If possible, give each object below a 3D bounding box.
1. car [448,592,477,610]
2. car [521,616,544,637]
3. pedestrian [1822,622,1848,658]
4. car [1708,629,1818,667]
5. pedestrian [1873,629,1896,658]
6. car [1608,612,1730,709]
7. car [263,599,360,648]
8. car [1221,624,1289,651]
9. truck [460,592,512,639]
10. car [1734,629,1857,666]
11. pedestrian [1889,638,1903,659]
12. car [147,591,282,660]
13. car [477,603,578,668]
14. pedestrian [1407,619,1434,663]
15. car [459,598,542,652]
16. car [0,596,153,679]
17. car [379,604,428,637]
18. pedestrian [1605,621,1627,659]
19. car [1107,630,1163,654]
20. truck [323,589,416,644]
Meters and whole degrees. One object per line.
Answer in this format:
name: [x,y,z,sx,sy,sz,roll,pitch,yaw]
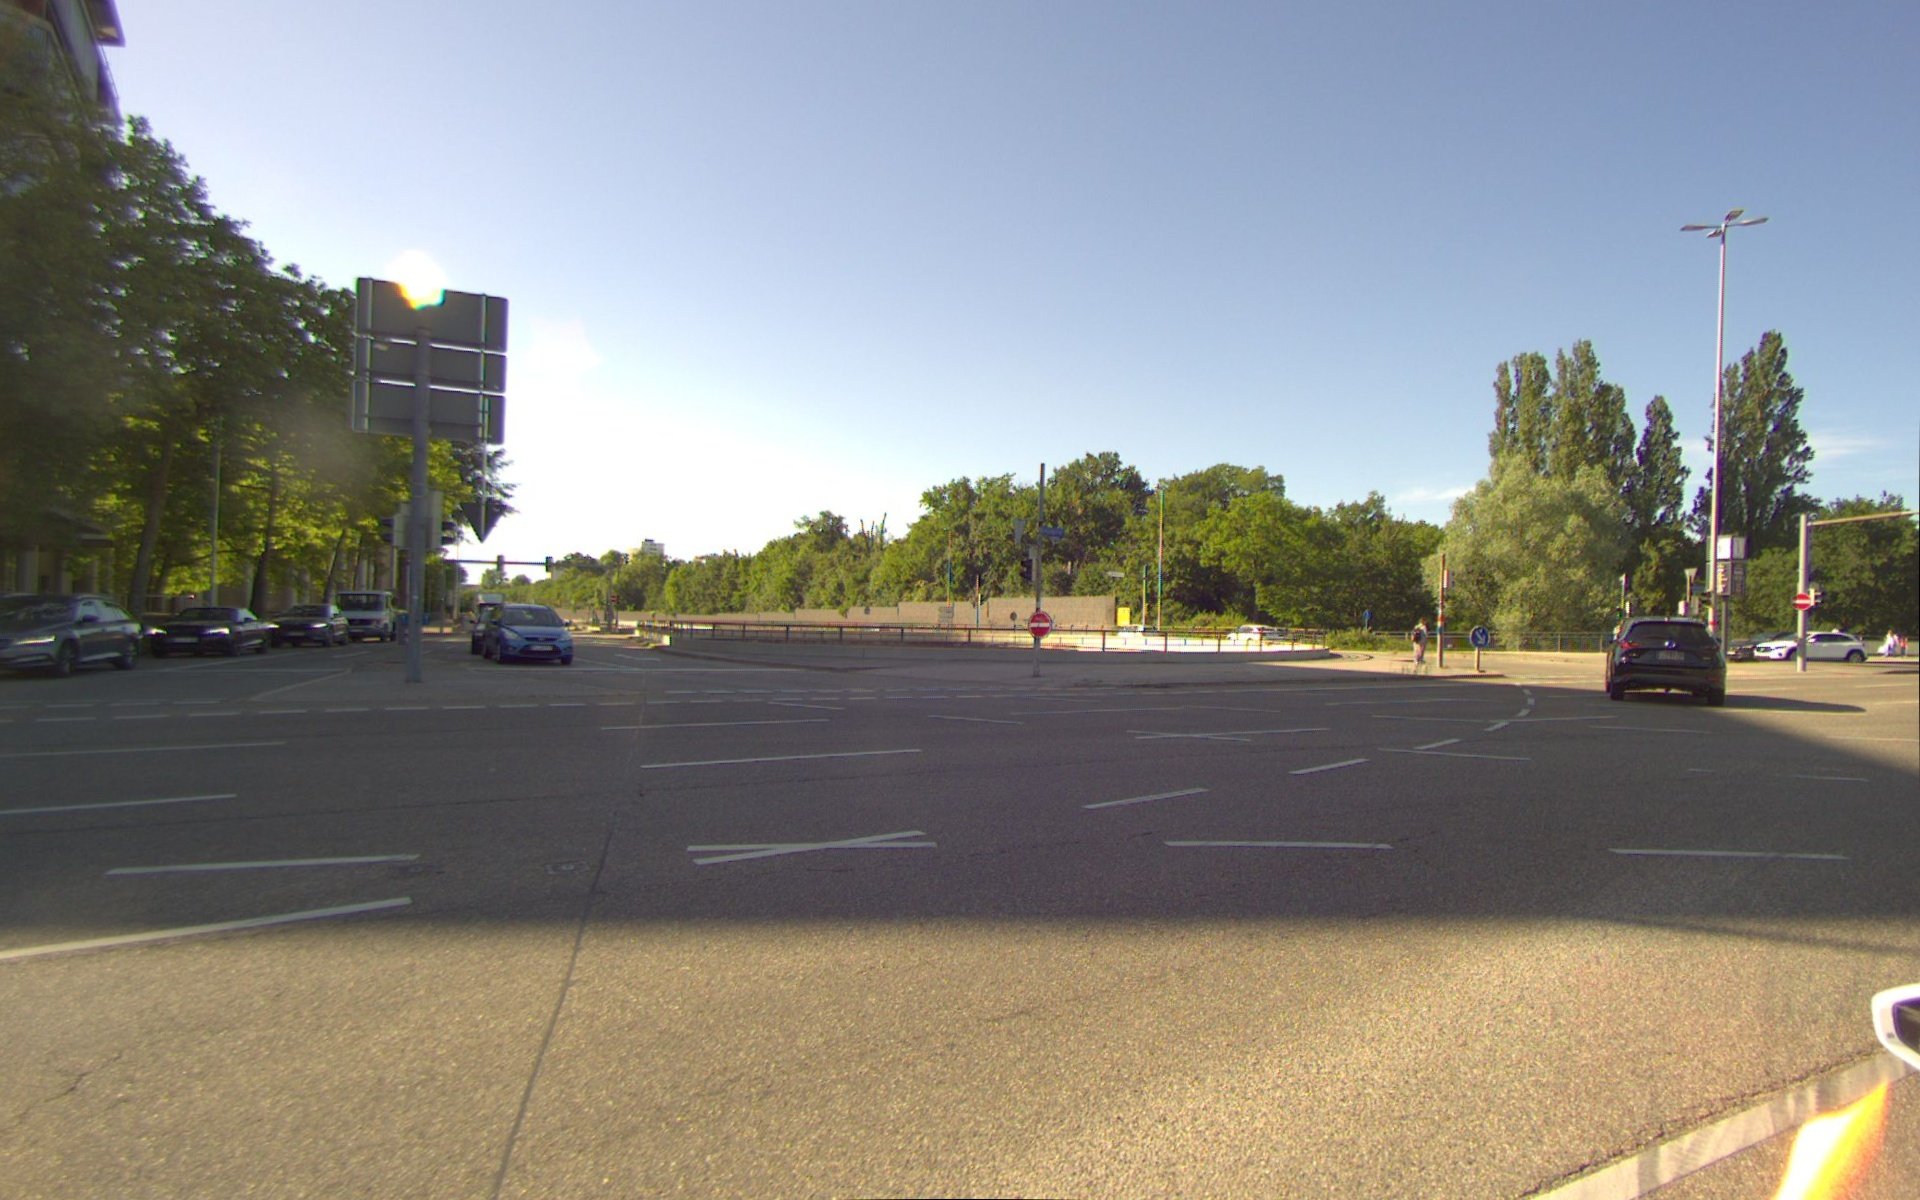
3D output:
car: [-50.356,0.066,101.668,1.800,1.722,4.149,2,-1,-39]
car: [-38.870,2.388,91.261,1.718,1.706,4.025,4,-1,-26]
pedestrian: [49.948,2.278,57.335,0.776,2.023,0.804,4,0,-22]
car: [41.092,2.431,51.482,3.920,1.646,1.902,4,0,5]
pedestrian: [54.440,2.546,59.145,0.663,1.663,0.719,4,0,-22]
car: [14.415,1.163,20.562,1.849,1.731,4.184,1,-1,34]
car: [-23.977,0.835,37.301,1.850,1.666,4.492,2,-1,-18]
car: [17.198,2.165,58.793,1.757,1.433,4.303,1,-1,-17]
truck: [-43.016,1.330,90.907,3.805,3.847,9.275,1,1,-28]
car: [39.556,2.240,47.603,4.242,1.556,1.785,1,1,2]
pedestrian: [54.562,2.826,58.559,0.392,1.151,0.422,4,0,-22]
car: [-20.467,0.672,27.781,1.787,1.722,4.178,2,-1,-20]
car: [-11.562,0.886,26.671,1.929,1.561,4.422,2,-1,-30]
pedestrian: [15.700,1.391,34.238,0.670,1.482,0.700,1,-1,37]
car: [-14.479,0.753,31.528,1.929,1.561,4.422,2,-1,-30]
car: [-16.856,0.669,18.664,1.855,1.376,4.481,1,-2,-25]
car: [-30.746,1.090,55.612,1.788,1.722,4.175,2,-1,-21]
pedestrian: [28.044,1.699,42.966,0.698,1.568,0.728,1,-1,27]
car: [12.184,2.945,70.183,1.973,1.528,3.975,1,-1,-25]
truck: [-28.051,0.738,48.019,2.130,2.391,7.486,2,-1,-18]
